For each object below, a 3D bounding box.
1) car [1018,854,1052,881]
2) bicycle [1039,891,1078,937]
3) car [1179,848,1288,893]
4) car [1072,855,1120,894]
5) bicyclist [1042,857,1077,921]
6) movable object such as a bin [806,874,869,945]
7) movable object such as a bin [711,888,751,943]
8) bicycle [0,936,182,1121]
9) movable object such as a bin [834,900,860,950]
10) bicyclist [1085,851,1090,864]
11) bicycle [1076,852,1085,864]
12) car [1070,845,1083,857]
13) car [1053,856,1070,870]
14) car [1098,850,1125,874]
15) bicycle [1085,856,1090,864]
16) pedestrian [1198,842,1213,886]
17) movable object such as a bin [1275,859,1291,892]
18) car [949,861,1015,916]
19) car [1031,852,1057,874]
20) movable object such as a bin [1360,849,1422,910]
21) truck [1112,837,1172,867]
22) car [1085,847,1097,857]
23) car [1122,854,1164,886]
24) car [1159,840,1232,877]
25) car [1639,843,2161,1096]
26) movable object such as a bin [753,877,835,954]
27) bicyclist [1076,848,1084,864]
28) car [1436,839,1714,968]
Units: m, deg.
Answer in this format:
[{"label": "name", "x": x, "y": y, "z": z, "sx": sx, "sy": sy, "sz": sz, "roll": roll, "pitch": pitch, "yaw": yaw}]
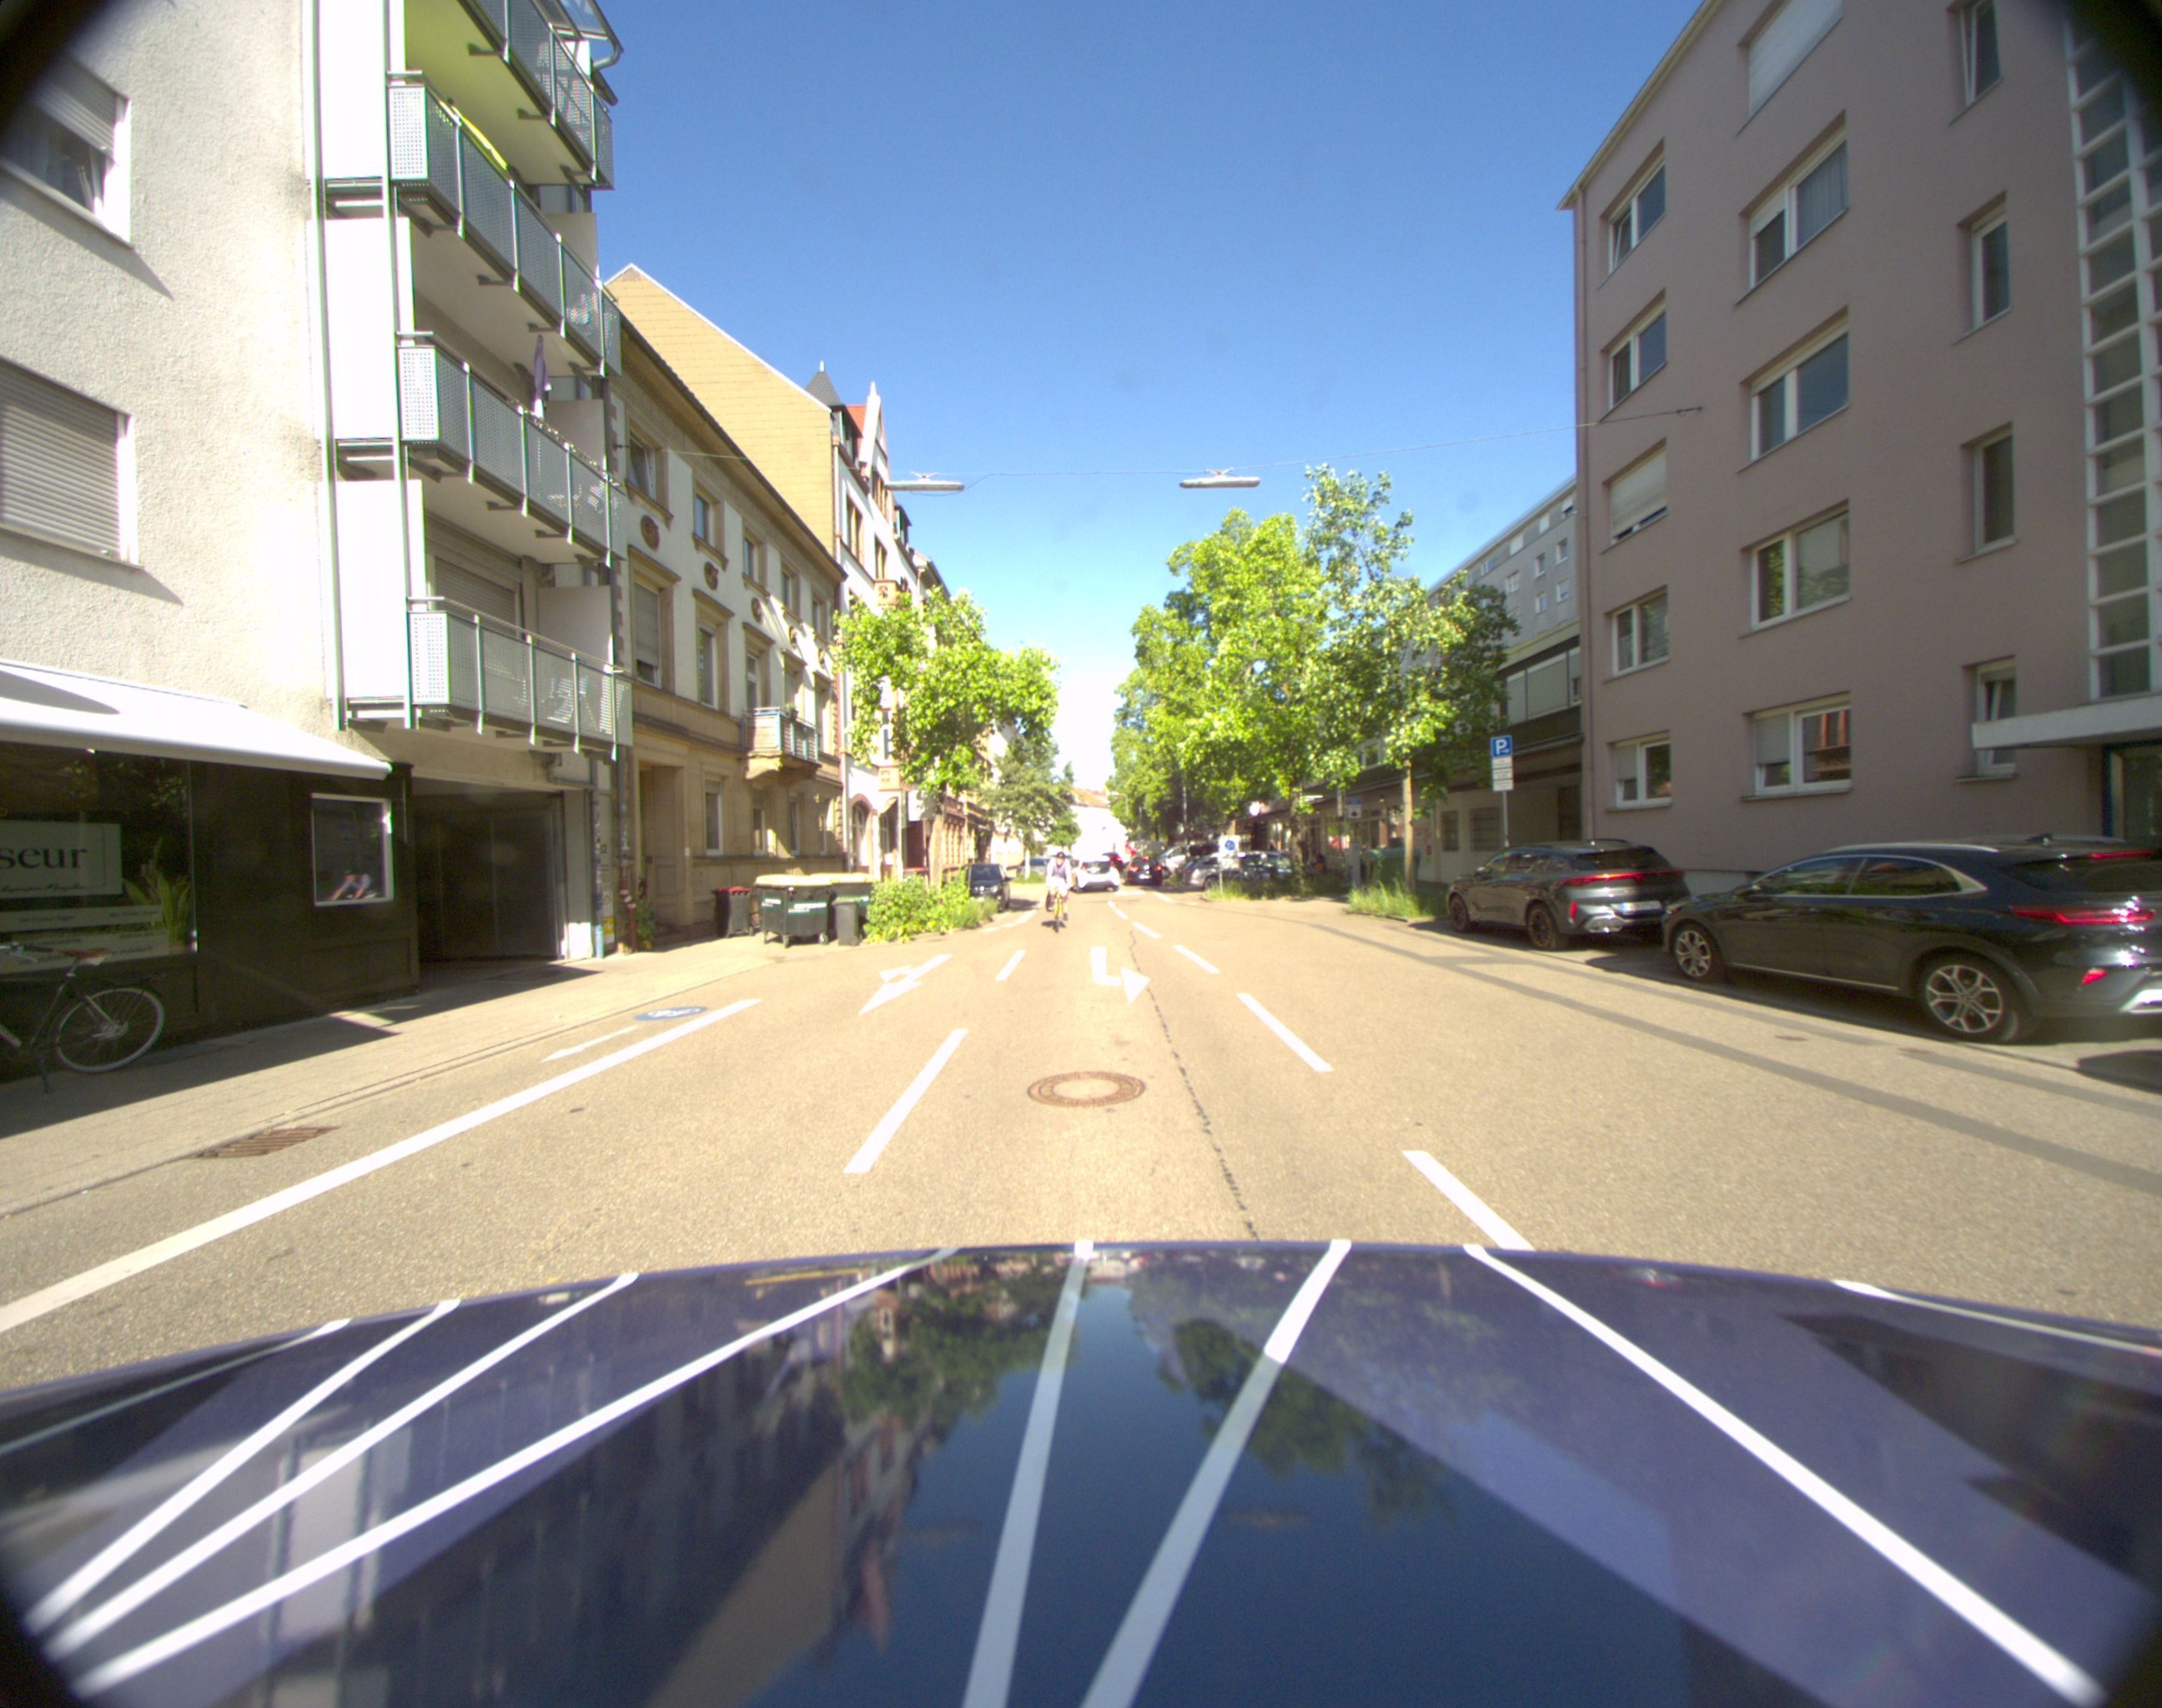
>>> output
[{"label": "car", "x": -2.748, "y": 0.766, "z": 45.891, "sx": 1.759, "sy": 1.492, "sz": 3.949, "roll": -2, "pitch": 0, "yaw": 0}, {"label": "bicycle", "x": -0.514, "y": 1.270, "z": 16.453, "sx": 0.612, "sy": 0.876, "sz": 1.813, "roll": -1, "pitch": -1, "yaw": -9}, {"label": "car", "x": 6.086, "y": 0.641, "z": 30.672, "sx": 3.997, "sy": 1.665, "sz": 2.000, "roll": -2, "pitch": 1, "yaw": 1}, {"label": "car", "x": 0.579, "y": 0.818, "z": 32.861, "sx": 1.770, "sy": 1.528, "sz": 3.784, "roll": -2, "pitch": 0, "yaw": -3}, {"label": "bicyclist", "x": -0.469, "y": 0.739, "z": 16.420, "sx": 0.610, "sy": 1.338, "sz": 1.017, "roll": -1, "pitch": 0, "yaw": -8}, {"label": "movable object such as a bin", "x": -5.087, "y": 1.122, "z": 15.857, "sx": 0.960, "sy": 1.341, "sz": 1.066, "roll": -1, "pitch": 2, "yaw": -38}, {"label": "movable object such as a bin", "x": -7.321, "y": 1.269, "z": 15.895, "sx": 0.615, "sy": 1.075, "sz": 0.568, "roll": 2, "pitch": 3, "yaw": 42}, {"label": "bicycle", "x": -7.748, "y": 1.279, "z": 5.449, "sx": 0.402, "sy": 1.171, "sz": 1.792, "roll": -2, "pitch": 0, "yaw": 1}, {"label": "movable object such as a bin", "x": -4.581, "y": 1.383, "z": 14.892, "sx": 0.401, "sy": 0.916, "sz": 0.484, "roll": 0, "pitch": 2, "yaw": -7}, {"label": "bicyclist", "x": 0.866, "y": 0.482, "z": 106.646, "sx": 0.578, "sy": 1.911, "sz": 0.613, "roll": -3, "pitch": 1, "yaw": 1}, {"label": "bicycle", "x": -0.056, "y": 0.395, "z": 77.229, "sx": 0.778, "sy": 1.139, "sz": 2.259, "roll": -3, "pitch": 1, "yaw": 1}, {"label": "car", "x": -0.697, "y": -0.486, "z": 126.512, "sx": 1.998, "sy": 2.002, "sz": 4.000, "roll": -2, "pitch": 0, "yaw": 1}, {"label": "car", "x": -2.176, "y": 0.960, "z": 84.985, "sx": 1.653, "sy": 1.447, "sz": 3.290, "roll": -2, "pitch": 0, "yaw": 1}, {"label": "car", "x": 2.400, "y": 0.624, "z": 61.155, "sx": 1.994, "sy": 1.599, "sz": 4.259, "roll": -3, "pitch": 3, "yaw": 1}, {"label": "bicycle", "x": 0.878, "y": 0.855, "z": 106.602, "sx": 0.570, "sy": 1.139, "sz": 2.259, "roll": -3, "pitch": 1, "yaw": 1}, {"label": "pedestrian", "x": 5.758, "y": 0.442, "z": 35.193, "sx": 0.565, "sy": 2.002, "sz": 0.753, "roll": -1, "pitch": 1, "yaw": 3}, {"label": "movable object such as a bin", "x": 7.617, "y": 0.790, "z": 28.679, "sx": 0.488, "sy": 1.218, "sz": 0.409, "roll": -2, "pitch": 1, "yaw": 1}, {"label": "car", "x": -2.972, "y": 1.013, "z": 23.368, "sx": 1.551, "sy": 1.483, "sz": 3.351, "roll": -2, "pitch": 0, "yaw": 0}, {"label": "car", "x": -2.636, "y": 0.654, "z": 55.205, "sx": 1.653, "sy": 1.483, "sz": 3.290, "roll": -2, "pitch": 0, "yaw": 0}, {"label": "movable object such as a bin", "x": 8.132, "y": 0.643, "z": 19.996, "sx": 1.247, "sy": 1.536, "sz": 1.019, "roll": -1, "pitch": 1, "yaw": 5}, {"label": "truck", "x": 5.739, "y": -0.188, "z": 71.696, "sx": 5.322, "sy": 2.581, "sz": 1.998, "roll": -2, "pitch": 1, "yaw": -9}, {"label": "car", "x": 1.624, "y": -0.352, "z": 121.766, "sx": 1.826, "sy": 1.617, "sz": 4.000, "roll": -2, "pitch": 0, "yaw": 1}, {"label": "car", "x": 3.011, "y": 0.739, "z": 37.615, "sx": 1.867, "sy": 1.455, "sz": 4.000, "roll": -2, "pitch": 0, "yaw": 3}, {"label": "car", "x": 6.703, "y": 0.270, "z": 44.780, "sx": 3.997, "sy": 2.020, "sz": 2.000, "roll": -2, "pitch": 1, "yaw": 1}, {"label": "car", "x": 7.514, "y": 0.714, "z": 6.898, "sx": 1.821, "sy": 1.499, "sz": 4.245, "roll": -4, "pitch": 0, "yaw": 2}, {"label": "movable object such as a bin", "x": -5.590, "y": 1.159, "z": 14.780, "sx": 1.212, "sy": 1.318, "sz": 1.052, "roll": 2, "pitch": 3, "yaw": 42}, {"label": "bicyclist", "x": -0.070, "y": 0.179, "z": 77.246, "sx": 0.748, "sy": 1.588, "sz": 0.613, "roll": -3, "pitch": 1, "yaw": 1}, {"label": "car", "x": 7.588, "y": 0.652, "z": 12.260, "sx": 1.821, "sy": 1.583, "sz": 4.141, "roll": -5, "pitch": 0, "yaw": 2}]
